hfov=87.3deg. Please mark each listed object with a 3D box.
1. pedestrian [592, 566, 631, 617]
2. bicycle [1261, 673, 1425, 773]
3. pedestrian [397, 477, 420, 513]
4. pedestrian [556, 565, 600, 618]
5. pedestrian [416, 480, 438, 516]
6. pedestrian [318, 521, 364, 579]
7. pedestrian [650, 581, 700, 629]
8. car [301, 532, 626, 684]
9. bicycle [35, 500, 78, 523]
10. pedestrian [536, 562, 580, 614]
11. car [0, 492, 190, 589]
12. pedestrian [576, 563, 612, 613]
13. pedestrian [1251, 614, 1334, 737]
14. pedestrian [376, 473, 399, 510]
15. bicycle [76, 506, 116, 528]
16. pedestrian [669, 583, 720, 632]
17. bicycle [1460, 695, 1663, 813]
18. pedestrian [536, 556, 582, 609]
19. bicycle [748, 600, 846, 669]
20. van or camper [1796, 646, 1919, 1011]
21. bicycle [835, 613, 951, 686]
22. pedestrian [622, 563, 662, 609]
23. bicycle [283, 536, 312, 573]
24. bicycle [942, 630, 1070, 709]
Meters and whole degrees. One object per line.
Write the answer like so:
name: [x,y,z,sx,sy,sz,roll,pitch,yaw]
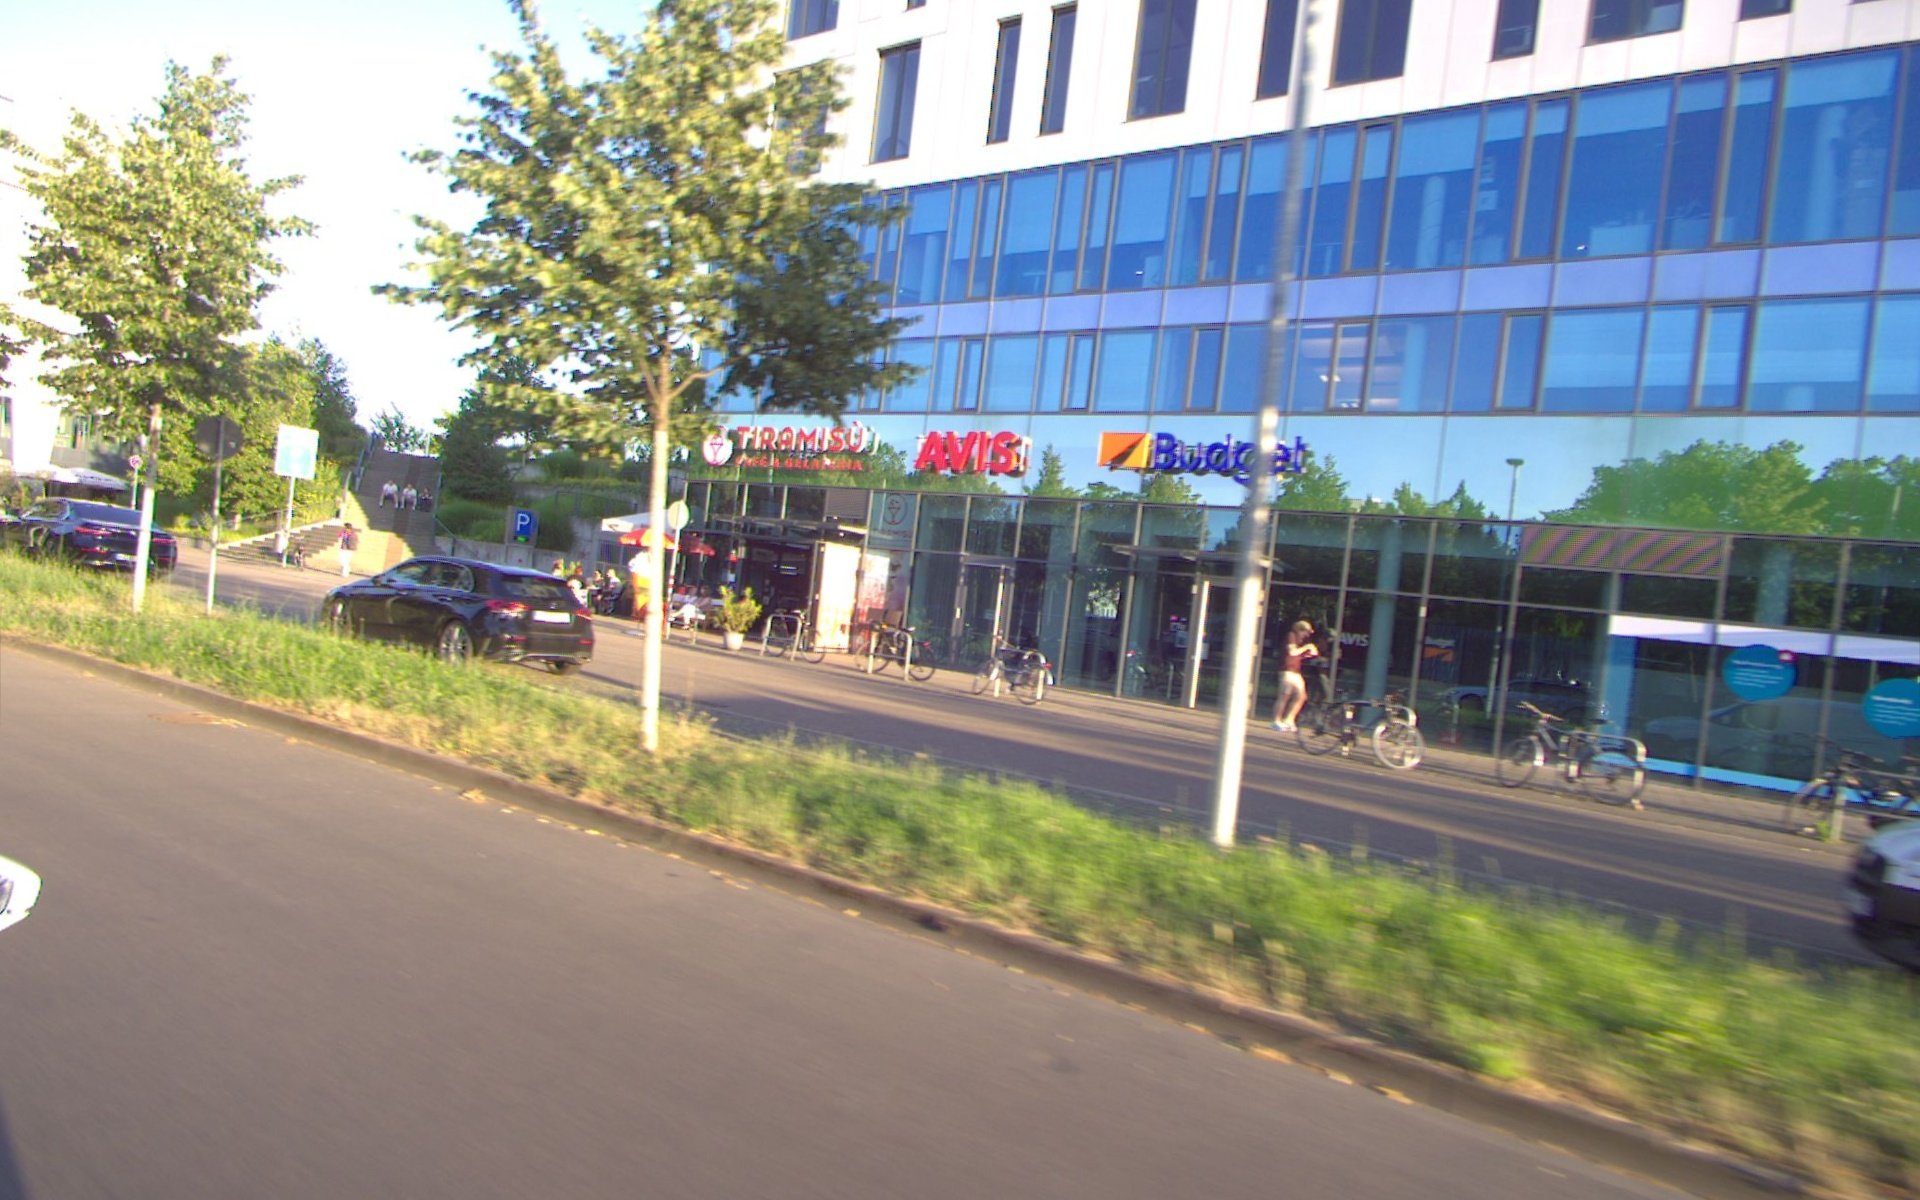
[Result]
pedestrian: [-9.420,-0.232,27.218,0.617,1.308,0.684,6,2,19]
bicycle: [5.413,1.713,14.270,2.036,1.055,0.530,7,3,26]
pedestrian: [-23.568,-4.483,42.989,0.662,1.398,0.821,8,0,-27]
pedestrian: [-10.067,-0.212,26.519,0.674,1.308,0.774,7,3,38]
pedestrian: [-22.971,-4.376,43.367,0.662,1.398,0.821,8,-1,-27]
pedestrian: [-19.575,-1.585,31.802,1.060,1.675,0.696,7,1,31]
pedestrian: [-7.279,0.140,25.714,0.673,1.140,0.972,7,2,32]
car: [-6.872,0.084,13.802,4.404,1.519,1.811,7,0,31]
bicycle: [-54.845,-5.377,61.086,0.491,1.121,1.798,7,0,28]
pedestrian: [-10.761,-0.319,26.950,0.674,1.308,0.779,7,3,38]
car: [-18.873,-1.323,21.519,5.321,1.519,1.922,7,0,31]
pedestrian: [-10.155,-0.329,27.917,0.672,1.308,0.662,6,2,-1]
pedestrian: [5.630,1.270,17.004,0.931,1.906,1.027,7,1,31]
pedestrian: [-24.315,-4.597,42.738,0.662,1.398,0.821,8,-1,-27]
bicycle: [-54.033,-5.176,62.930,0.491,1.121,1.798,7,0,28]
pedestrian: [-6.686,0.188,25.339,0.673,1.140,0.972,7,2,32]
bicycle: [7.705,1.946,12.985,2.112,1.124,0.387,7,3,32]
pedestrian: [-11.226,-0.485,28.194,0.756,1.385,0.745,7,1,20]
bicycle: [-3.270,0.677,20.134,1.841,1.148,0.640,7,3,28]
van or camper: [7.574,1.555,5.073,4.750,1.942,1.962,7,-2,32]
bicycle: [-1.273,0.913,18.936,2.037,1.078,0.683,7,3,29]
pedestrian: [-9.732,-0.415,30.794,0.758,1.281,0.743,7,1,32]
bicycle: [-21.145,-1.452,32.085,0.540,1.056,1.892,6,0,-39]
bicycle: [0.778,1.169,17.251,2.036,1.055,0.597,7,3,25]
